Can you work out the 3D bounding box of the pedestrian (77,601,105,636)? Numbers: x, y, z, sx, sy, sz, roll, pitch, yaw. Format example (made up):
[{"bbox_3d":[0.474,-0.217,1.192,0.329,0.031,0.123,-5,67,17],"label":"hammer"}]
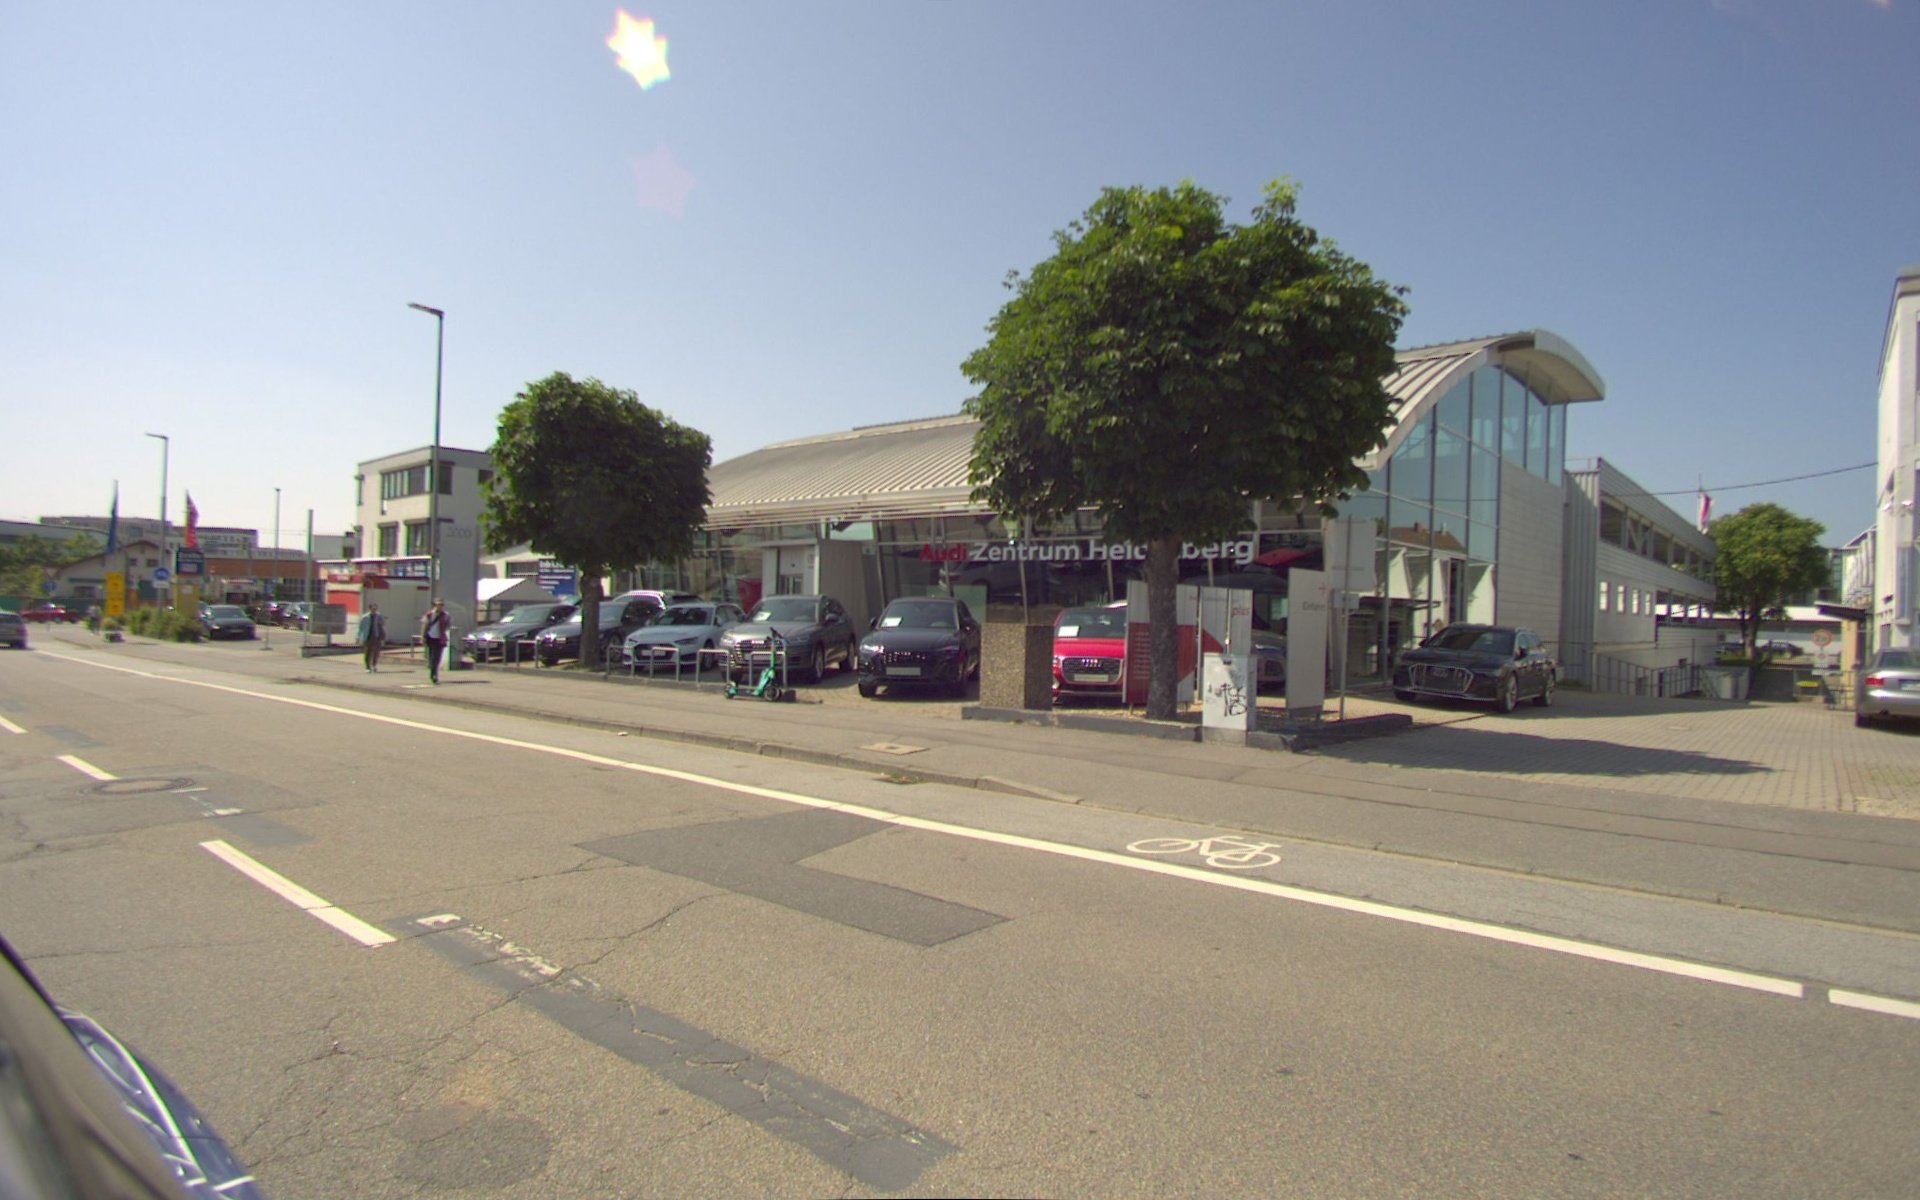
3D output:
[{"bbox_3d":[-42.631,0.930,49.654,0.981,1.698,0.801,2,-2,-38],"label":"pedestrian"}]

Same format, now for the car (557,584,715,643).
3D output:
[{"bbox_3d":[-10.314,0.390,32.193,4.706,1.732,1.983,0,2,26],"label":"car"}]

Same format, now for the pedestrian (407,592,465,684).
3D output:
[{"bbox_3d":[-11.100,0.798,21.429,1.046,1.882,0.725,-1,-2,40],"label":"pedestrian"}]

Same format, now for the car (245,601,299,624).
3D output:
[{"bbox_3d":[-42.459,0.771,62.433,4.486,1.399,1.886,0,-2,44],"label":"car"}]

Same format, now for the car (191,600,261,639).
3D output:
[{"bbox_3d":[-33.906,0.910,46.712,4.000,1.728,1.884,0,-2,43],"label":"car"}]

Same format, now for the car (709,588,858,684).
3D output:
[{"bbox_3d":[-3.394,0.662,20.402,1.836,1.709,4.573,0,-1,5],"label":"car"}]

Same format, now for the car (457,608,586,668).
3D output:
[{"bbox_3d":[-11.893,0.985,27.768,1.880,1.470,4.163,0,0,-2],"label":"car"}]

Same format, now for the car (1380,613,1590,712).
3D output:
[{"bbox_3d":[9.528,1.084,18.346,3.418,1.518,1.890,2,1,-33],"label":"car"}]

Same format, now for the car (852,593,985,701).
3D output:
[{"bbox_3d":[-0.633,0.743,18.680,1.887,1.720,4.474,0,1,5],"label":"car"}]

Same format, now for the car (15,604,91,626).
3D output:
[{"bbox_3d":[-70.879,1.185,79.173,3.933,1.719,2.005,1,-1,-13],"label":"car"}]

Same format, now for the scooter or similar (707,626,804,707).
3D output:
[{"bbox_3d":[-3.402,1.082,16.833,1.486,1.257,0.738,0,-1,33],"label":"scooter or similar"}]

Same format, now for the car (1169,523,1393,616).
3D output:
[{"bbox_3d":[6.452,-0.528,20.714,1.967,1.696,4.009,1,-1,-36],"label":"car"}]

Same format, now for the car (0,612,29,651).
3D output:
[{"bbox_3d":[-36.997,1.134,38.509,4.321,1.415,1.724,0,-5,40],"label":"car"}]

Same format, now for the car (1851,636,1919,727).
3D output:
[{"bbox_3d":[16.719,1.361,17.507,1.858,1.370,3.946,0,-1,40],"label":"car"}]

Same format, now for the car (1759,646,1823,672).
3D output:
[{"bbox_3d":[69.794,4.934,85.088,3.991,1.940,1.976,0,-2,35],"label":"car"}]

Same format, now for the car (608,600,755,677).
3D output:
[{"bbox_3d":[-6.171,0.794,22.947,1.851,1.506,4.196,0,1,5],"label":"car"}]

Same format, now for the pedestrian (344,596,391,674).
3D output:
[{"bbox_3d":[-14.629,0.854,24.974,0.911,1.862,0.715,-1,-2,41],"label":"pedestrian"}]

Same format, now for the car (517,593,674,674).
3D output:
[{"bbox_3d":[-9.098,0.765,25.741,1.941,1.620,4.476,-4,2,5],"label":"car"}]

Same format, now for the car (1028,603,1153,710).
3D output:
[{"bbox_3d":[2.269,0.845,16.980,1.839,1.562,3.987,0,-1,10],"label":"car"}]

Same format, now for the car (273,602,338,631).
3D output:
[{"bbox_3d":[-34.553,0.867,53.378,4.420,1.432,1.886,0,-2,44],"label":"car"}]
